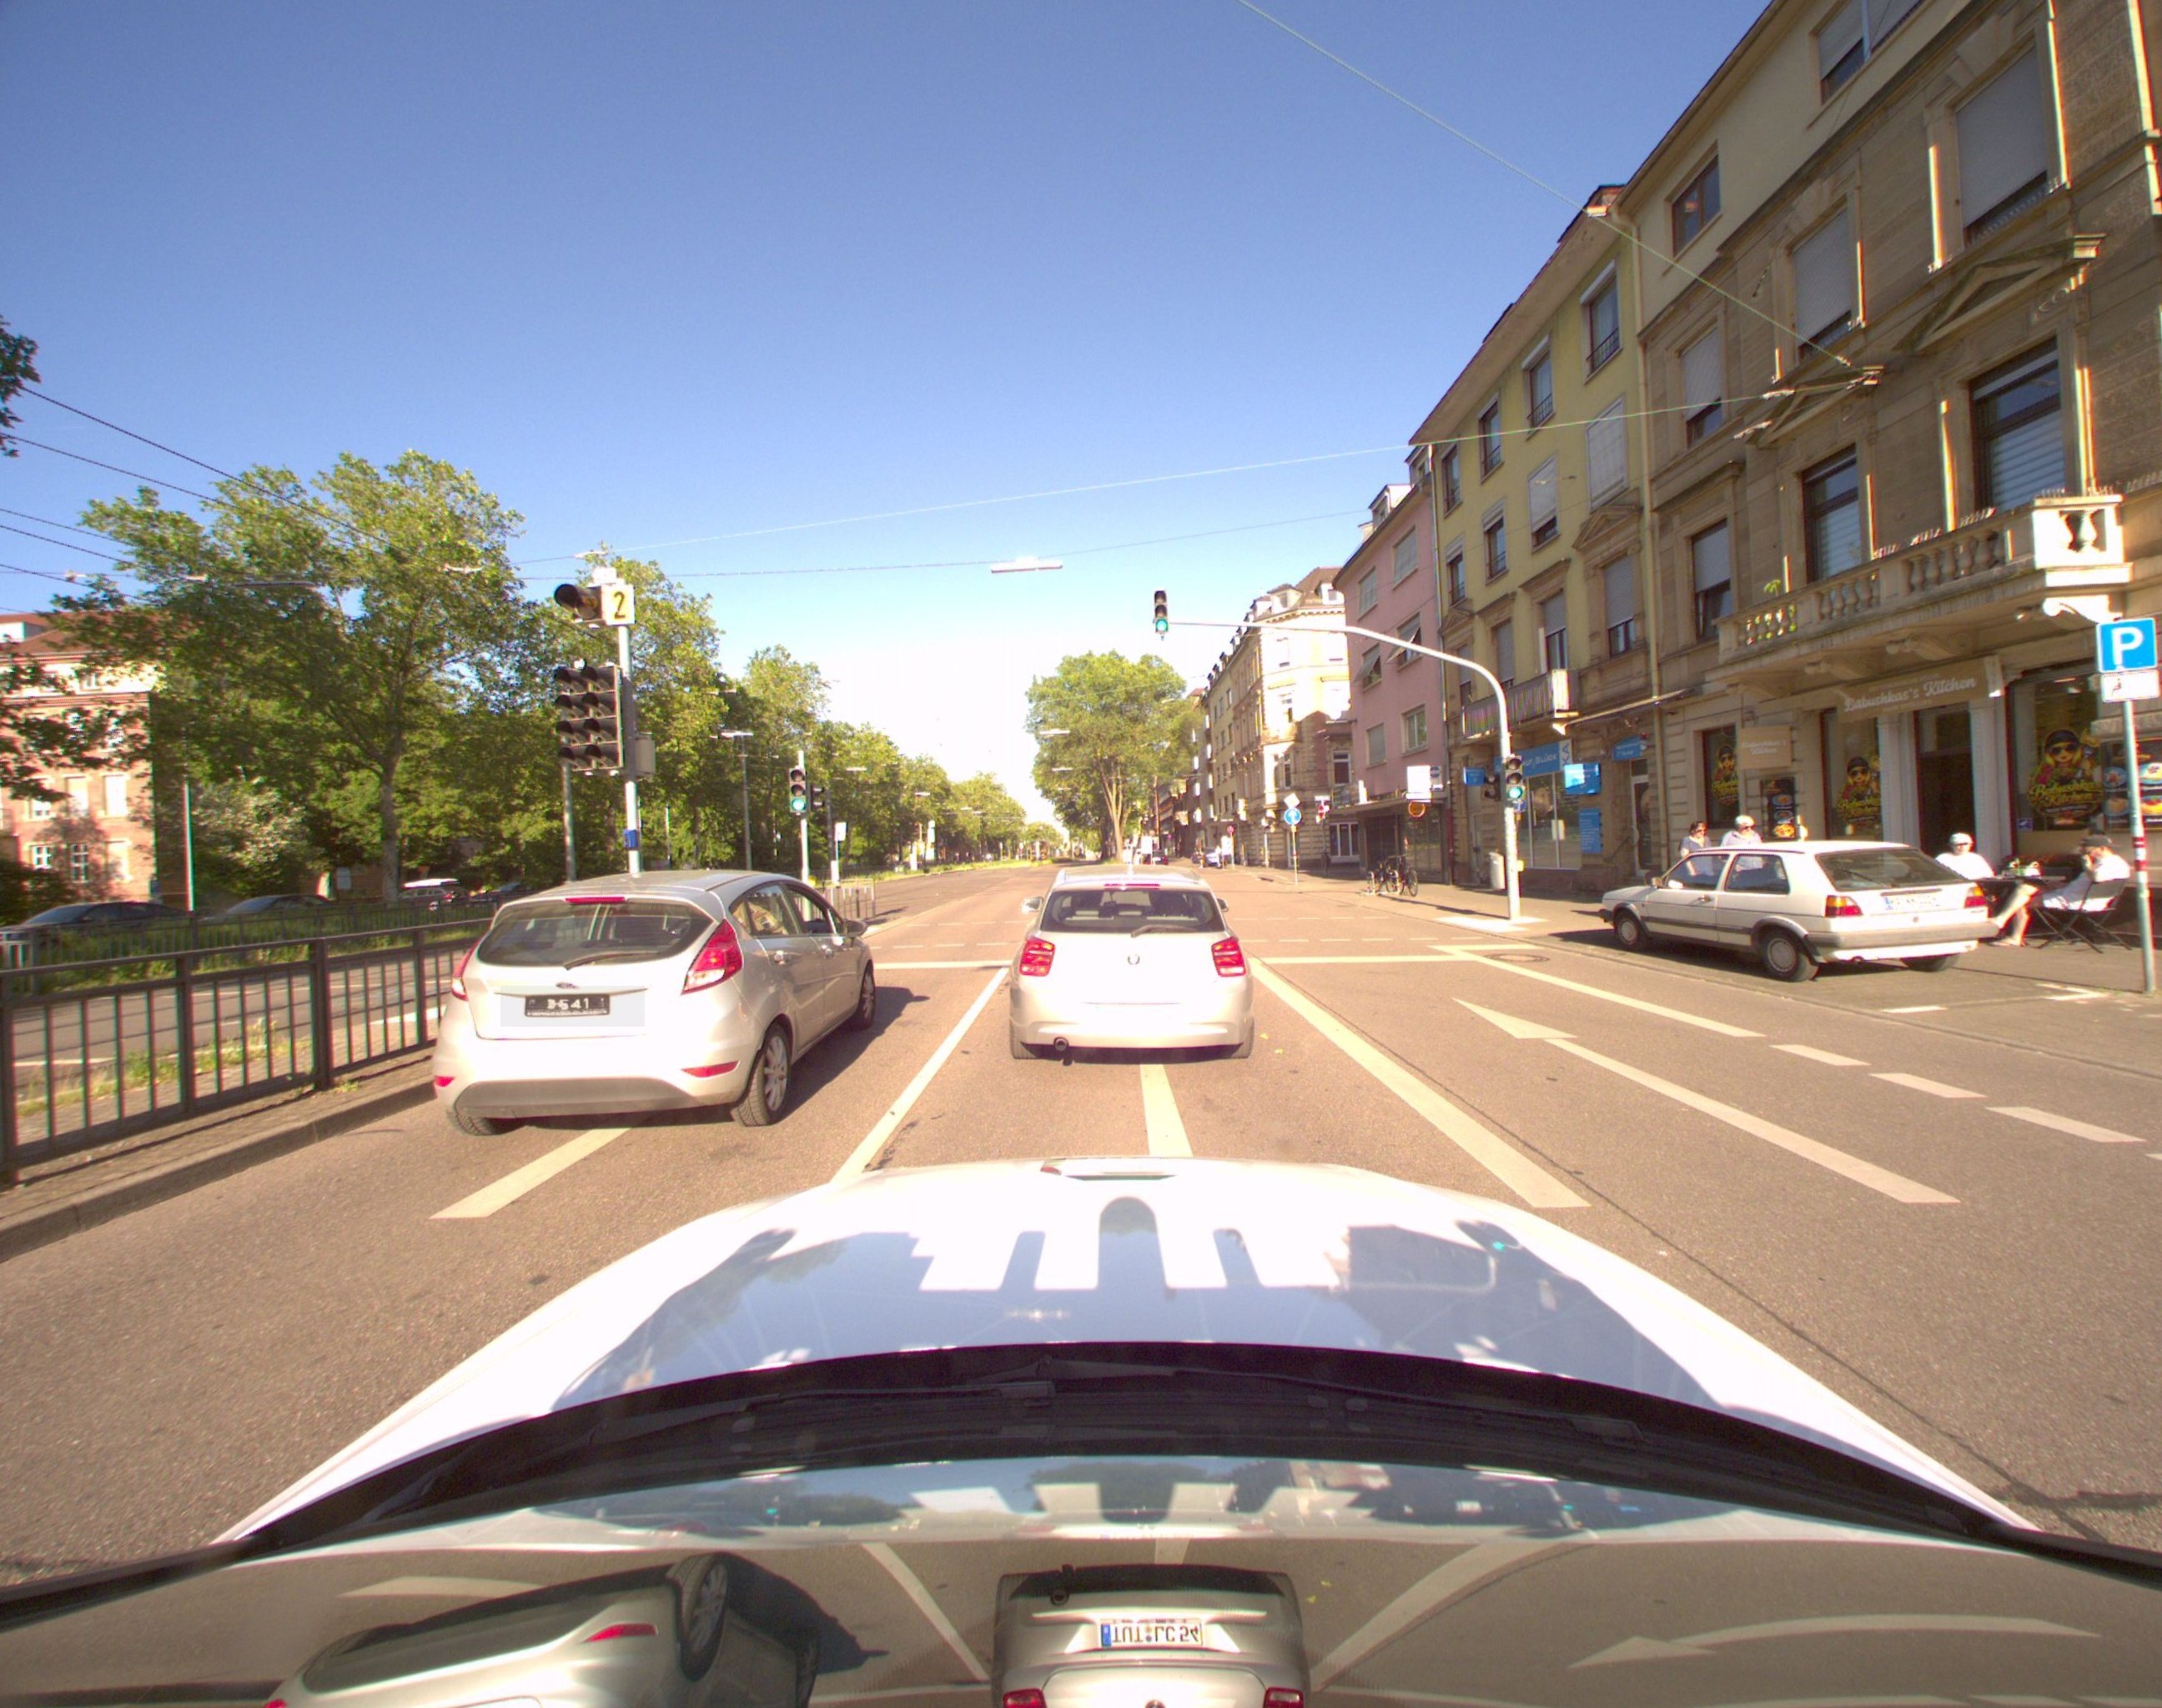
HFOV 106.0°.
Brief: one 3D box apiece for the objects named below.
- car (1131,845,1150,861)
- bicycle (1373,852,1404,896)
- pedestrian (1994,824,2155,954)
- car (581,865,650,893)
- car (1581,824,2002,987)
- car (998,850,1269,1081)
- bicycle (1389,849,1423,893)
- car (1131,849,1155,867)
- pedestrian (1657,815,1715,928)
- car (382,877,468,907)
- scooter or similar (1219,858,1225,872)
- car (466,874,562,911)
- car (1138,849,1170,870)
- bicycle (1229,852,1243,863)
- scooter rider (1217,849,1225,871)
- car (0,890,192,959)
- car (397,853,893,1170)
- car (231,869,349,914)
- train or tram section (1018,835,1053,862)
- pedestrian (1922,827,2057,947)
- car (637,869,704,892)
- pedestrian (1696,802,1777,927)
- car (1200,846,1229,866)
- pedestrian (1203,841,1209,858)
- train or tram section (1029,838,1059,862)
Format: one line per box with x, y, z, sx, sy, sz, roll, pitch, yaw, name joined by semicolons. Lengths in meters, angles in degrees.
5.948;-0.139;81.783;1.719;1.507;3.555;-1;0;0;car
8.642;0.541;22.950;0.411;1.140;1.814;-2;0;8;bicycle
10.796;0.365;8.874;0.899;1.281;0.655;-5;0;-4;pedestrian
-27.752;1.462;48.670;1.664;1.509;4.145;-2;0;0;car
8.042;0.478;9.812;1.557;1.415;4.005;-6;0;2;car
0.397;0.706;7.242;1.733;1.467;4.002;-1;0;2;car
9.137;0.462;22.935;0.446;1.159;1.762;-2;0;8;bicycle
5.229;0.311;69.202;1.719;1.507;3.555;-1;0;0;car
9.391;0.272;12.650;0.547;1.708;0.389;-2;0;4;pedestrian
-37.942;2.195;47.117;3.968;1.494;1.396;-2;0;5;car
9.967;0.760;57.633;0.335;0.988;1.286;-2;0;6;scooter or similar
-27.456;1.806;39.601;1.664;1.509;4.145;-2;0;0;car
5.152;0.351;57.819;1.732;1.433;3.672;-1;0;-4;car
12.148;0.281;63.837;0.752;0.770;1.945;-2;0;0;bicycle
9.934;0.410;57.676;0.463;1.505;0.812;-2;0;5;scooter rider
-27.856;1.913;22.618;1.664;1.509;4.145;-2;0;0;car
-2.579;0.763;5.947;1.605;1.467;3.886;-2;0;-3;car
-40.401;1.883;41.727;1.986;2.013;4.002;-2;0;2;car
-7.105;-0.867;130.411;3.954;3.865;17.496;-2;0;2;train or tram section
10.623;0.371;9.548;0.795;1.281;0.608;-6;0;-1;pedestrian
-27.505;1.759;54.740;1.929;1.349;4.849;-2;-1;0;car
10.021;0.156;12.465;0.670;1.806;0.531;-5;0;1;pedestrian
10.388;0.155;63.550;1.729;1.519;3.637;-1;0;1;car
12.839;-0.457;83.720;0.503;1.802;0.806;-2;0;1;pedestrian
-6.541;-0.747;147.980;3.990;3.865;17.496;-2;0;2;train or tram section
